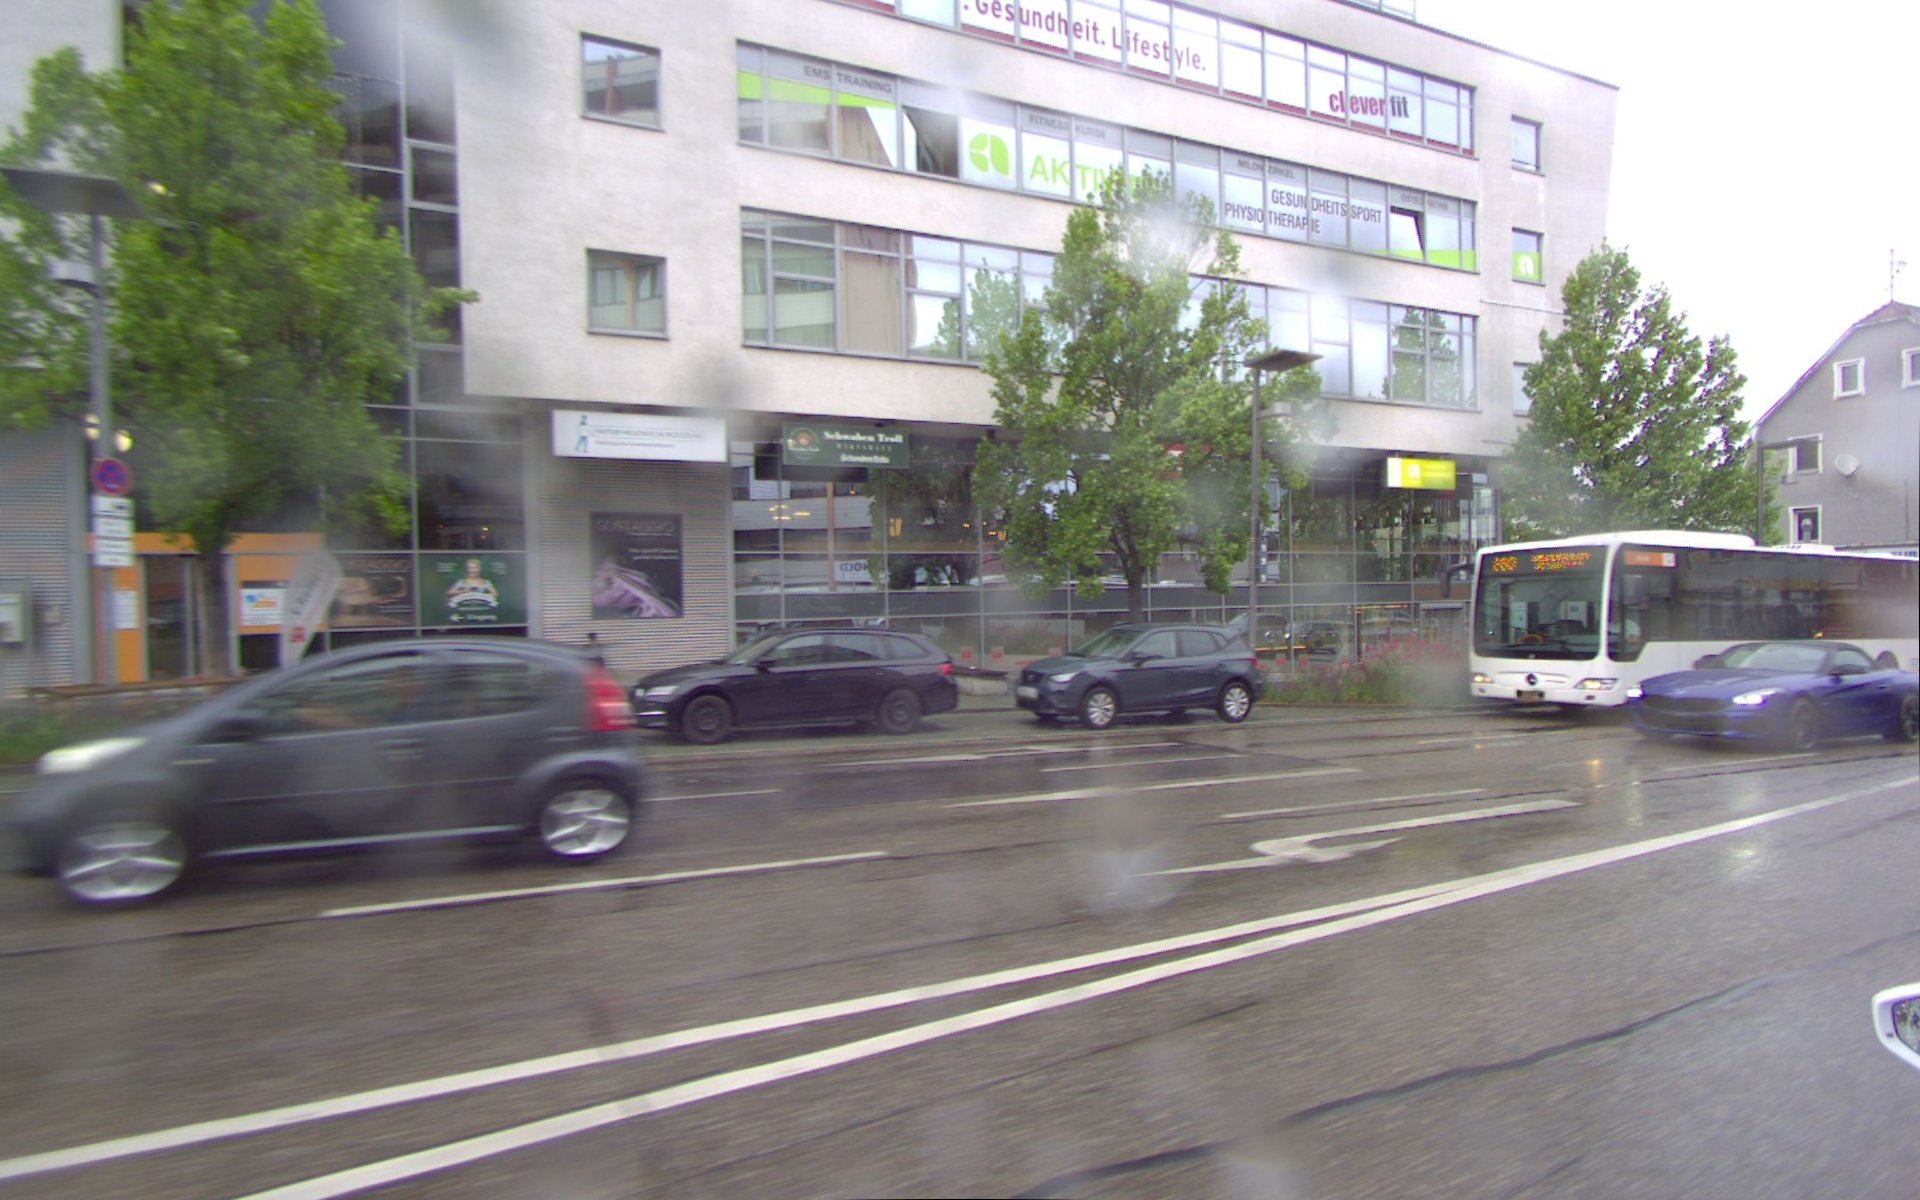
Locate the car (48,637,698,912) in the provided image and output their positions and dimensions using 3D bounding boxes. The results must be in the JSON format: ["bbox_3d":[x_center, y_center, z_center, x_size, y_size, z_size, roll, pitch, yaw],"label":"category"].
[{"bbox_3d":[-3.495,0.941,6.528,3.238,1.393,1.560,1,-2,-26],"label":"car"}]

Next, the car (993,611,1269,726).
[{"bbox_3d":[2.717,1.015,15.908,3.949,1.617,1.986,1,-2,-28],"label":"car"}]

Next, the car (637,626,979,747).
[{"bbox_3d":[-2.088,1.112,14.095,4.419,1.466,1.819,1,-2,-28],"label":"car"}]

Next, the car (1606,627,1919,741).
[{"bbox_3d":[10.664,1.009,13.140,4.139,1.273,1.890,1,-2,-27],"label":"car"}]

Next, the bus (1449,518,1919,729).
[{"bbox_3d":[14.498,0.484,18.853,11.839,3.140,2.883,1,-2,-26],"label":"bus"}]

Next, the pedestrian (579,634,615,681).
[{"bbox_3d":[-7.832,1.224,21.681,0.678,0.989,0.524,1,-1,-25],"label":"pedestrian"}]
